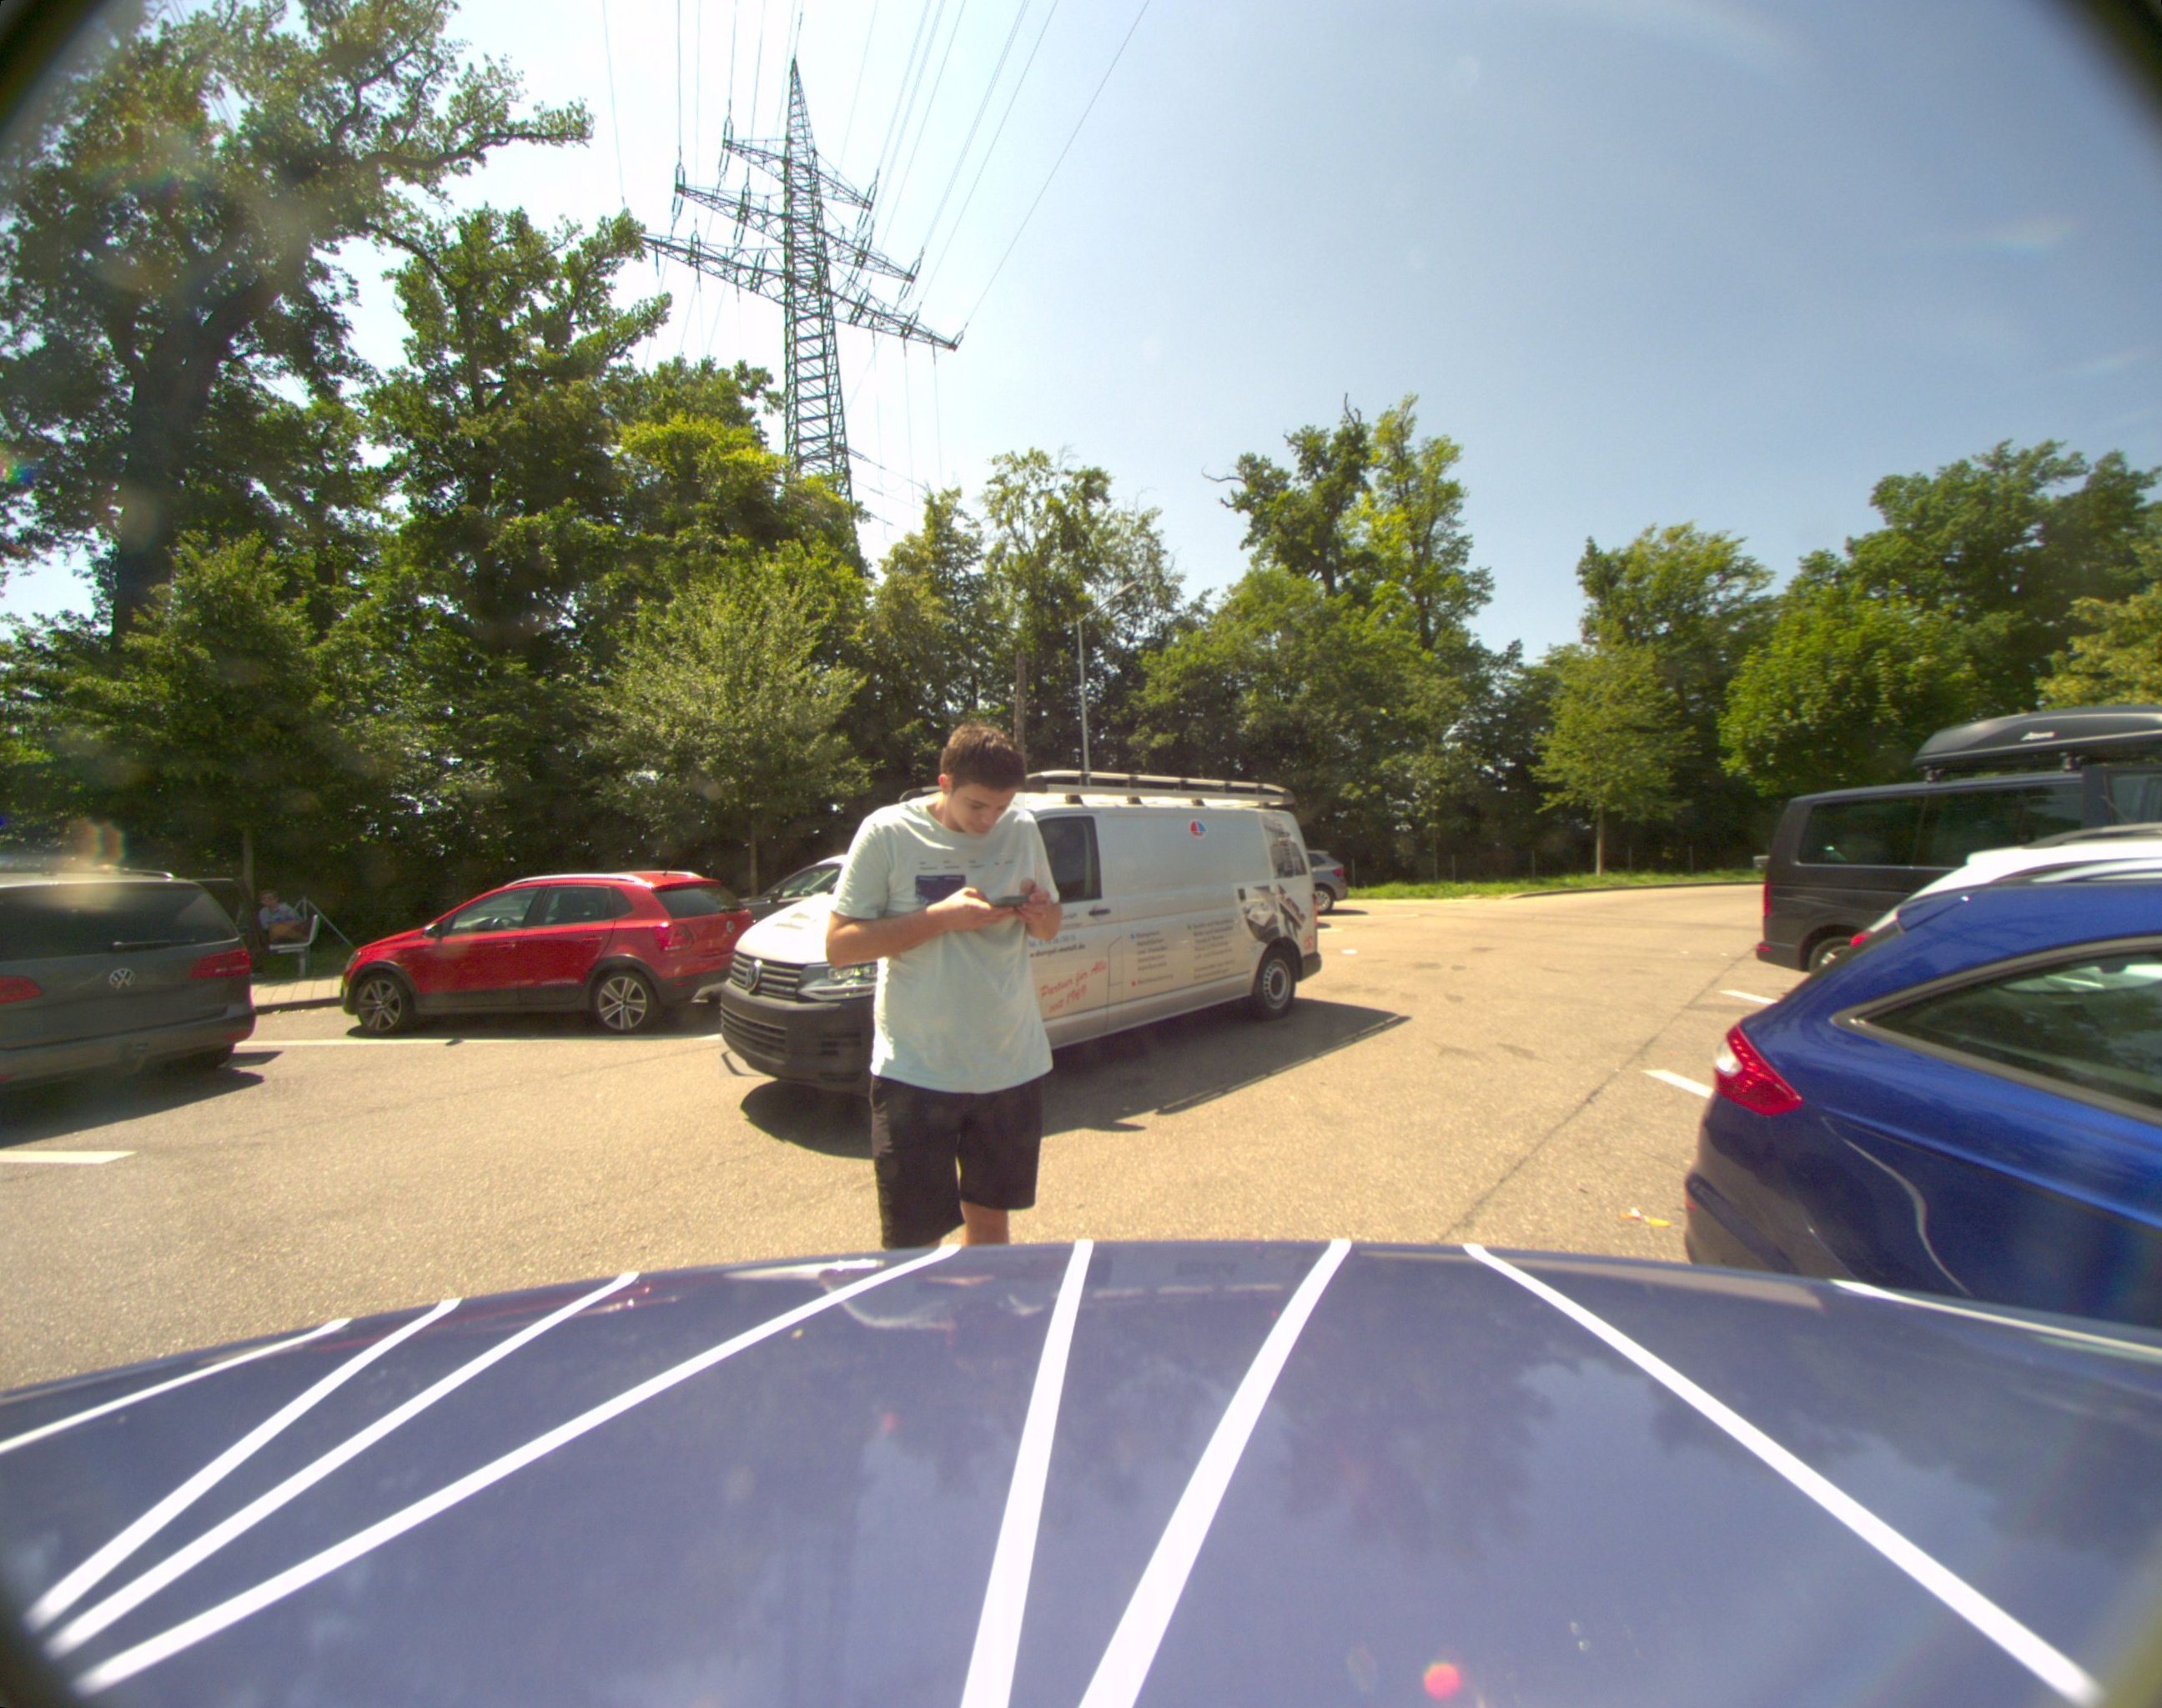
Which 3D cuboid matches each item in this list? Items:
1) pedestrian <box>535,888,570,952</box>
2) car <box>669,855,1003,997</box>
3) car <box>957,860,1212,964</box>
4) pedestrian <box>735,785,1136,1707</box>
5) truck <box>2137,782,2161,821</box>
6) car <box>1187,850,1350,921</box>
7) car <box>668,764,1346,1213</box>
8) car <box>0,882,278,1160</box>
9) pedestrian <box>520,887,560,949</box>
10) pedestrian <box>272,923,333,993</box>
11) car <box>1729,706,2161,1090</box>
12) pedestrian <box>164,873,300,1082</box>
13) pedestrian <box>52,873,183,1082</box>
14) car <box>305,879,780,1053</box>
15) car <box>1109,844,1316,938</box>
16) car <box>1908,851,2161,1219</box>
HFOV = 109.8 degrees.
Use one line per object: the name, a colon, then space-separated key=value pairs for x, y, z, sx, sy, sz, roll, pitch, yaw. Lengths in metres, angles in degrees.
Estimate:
pedestrian: x=-10.204 y=1.265 z=14.671 sx=0.366 sy=1.186 sz=0.356 roll=-2 pitch=1 yaw=21
car: x=-3.109 y=0.895 z=10.199 sx=3.866 sy=1.607 sz=1.709 roll=-2 pitch=0 yaw=0
car: x=0.101 y=0.887 z=12.274 sx=3.773 sy=1.445 sz=1.848 roll=-2 pitch=0 yaw=4
pedestrian: x=-0.374 y=0.778 z=1.893 sx=0.741 sy=1.818 sz=0.613 roll=-2 pitch=0 yaw=-34
truck: x=40.278 y=-1.973 z=27.060 sx=1.168 sy=1.367 sz=2.882 roll=-2 pitch=-1 yaw=-19
car: x=4.353 y=0.730 z=18.106 sx=3.585 sy=1.493 sz=1.707 roll=-2 pitch=1 yaw=8
car: x=-0.018 y=0.593 z=6.101 sx=5.445 sy=2.092 sz=1.839 roll=-2 pitch=1 yaw=-45
car: x=-8.349 y=1.101 z=5.420 sx=3.903 sy=1.607 sz=1.705 roll=-2 pitch=1 yaw=11
pedestrian: x=-10.893 y=1.285 z=15.314 sx=0.413 sy=1.186 sz=0.443 roll=-2 pitch=1 yaw=12
pedestrian: x=-10.830 y=1.435 z=10.582 sx=0.503 sy=0.874 sz=0.512 roll=-3 pitch=1 yaw=-39
car: x=7.308 y=0.251 z=5.307 sx=1.788 sy=2.304 sz=4.084 roll=-2 pitch=0 yaw=-5
pedestrian: x=-7.422 y=1.043 z=6.661 sx=0.481 sy=1.712 sz=0.589 roll=-2 pitch=1 yaw=22
pedestrian: x=-8.337 y=1.035 z=6.587 sx=0.436 sy=1.712 sz=0.511 roll=-2 pitch=1 yaw=17
car: x=-5.260 y=1.067 z=7.678 sx=3.745 sy=1.458 sz=1.621 roll=-2 pitch=0 yaw=7
car: x=2.562 y=0.711 z=15.384 sx=3.850 sy=1.678 sz=1.755 roll=-2 pitch=0 yaw=4
car: x=4.705 y=0.669 z=2.143 sx=1.344 sy=1.352 sz=3.114 roll=-2 pitch=0 yaw=1
